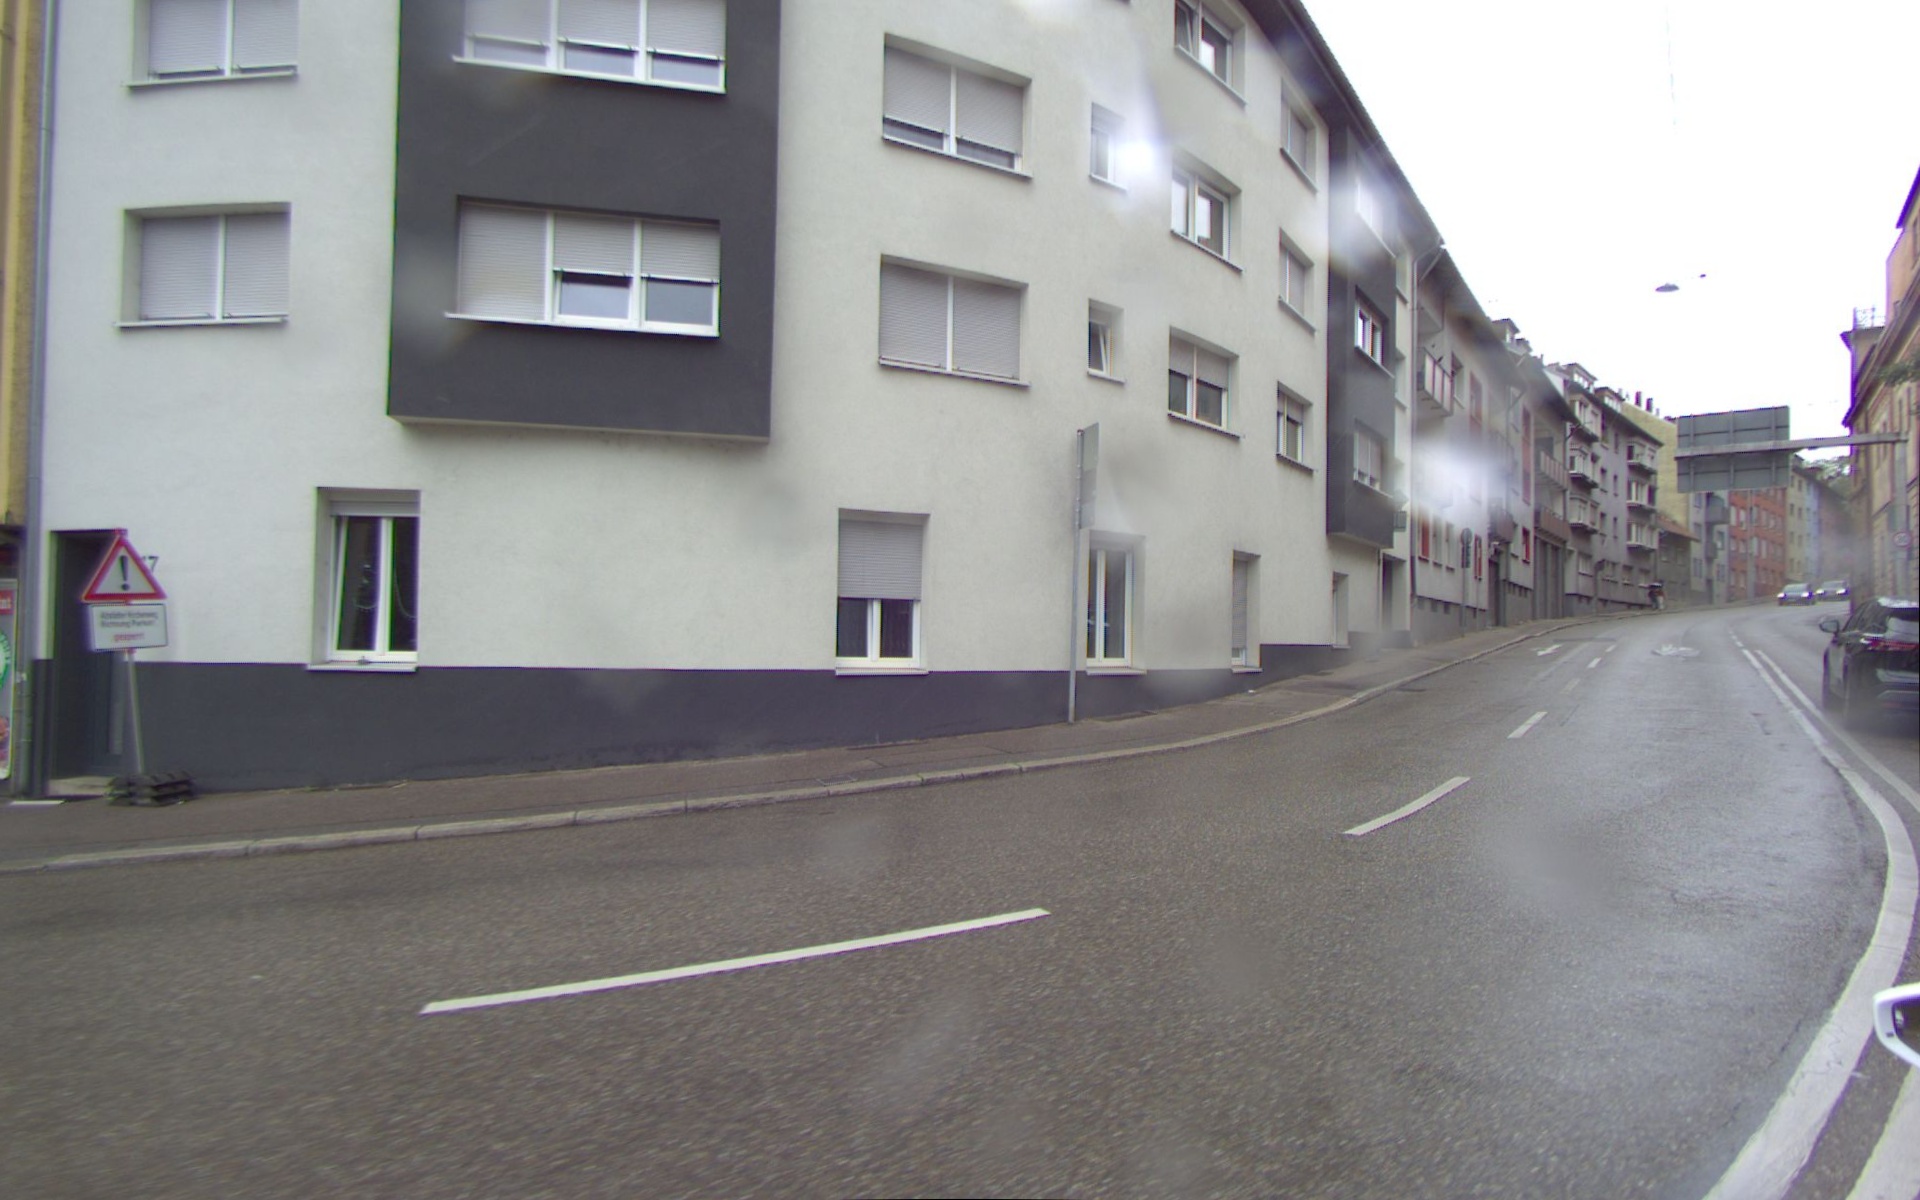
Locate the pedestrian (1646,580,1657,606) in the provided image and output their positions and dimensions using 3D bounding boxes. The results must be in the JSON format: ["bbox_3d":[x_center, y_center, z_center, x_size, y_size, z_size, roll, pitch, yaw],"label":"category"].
[{"bbox_3d":[47.393,-0.470,68.855,0.517,1.800,0.619,-1,1,43],"label":"pedestrian"}]

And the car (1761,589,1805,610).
[{"bbox_3d":[62.424,-0.009,76.200,3.965,1.530,1.780,2,-2,-38],"label":"car"}]

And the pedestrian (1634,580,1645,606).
[{"bbox_3d":[46.895,-0.463,69.311,0.517,1.800,0.619,-1,1,43],"label":"pedestrian"}]

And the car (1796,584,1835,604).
[{"bbox_3d":[71.608,-0.513,84.064,3.965,1.530,1.780,2,-2,-38],"label":"car"}]

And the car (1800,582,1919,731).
[{"bbox_3d":[11.832,0.678,12.351,1.855,1.615,3.910,2,0,34],"label":"car"}]

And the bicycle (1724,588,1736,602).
[{"bbox_3d":[65.824,-0.435,85.854,1.785,1.122,0.494,-3,2,-41],"label":"bicycle"}]
